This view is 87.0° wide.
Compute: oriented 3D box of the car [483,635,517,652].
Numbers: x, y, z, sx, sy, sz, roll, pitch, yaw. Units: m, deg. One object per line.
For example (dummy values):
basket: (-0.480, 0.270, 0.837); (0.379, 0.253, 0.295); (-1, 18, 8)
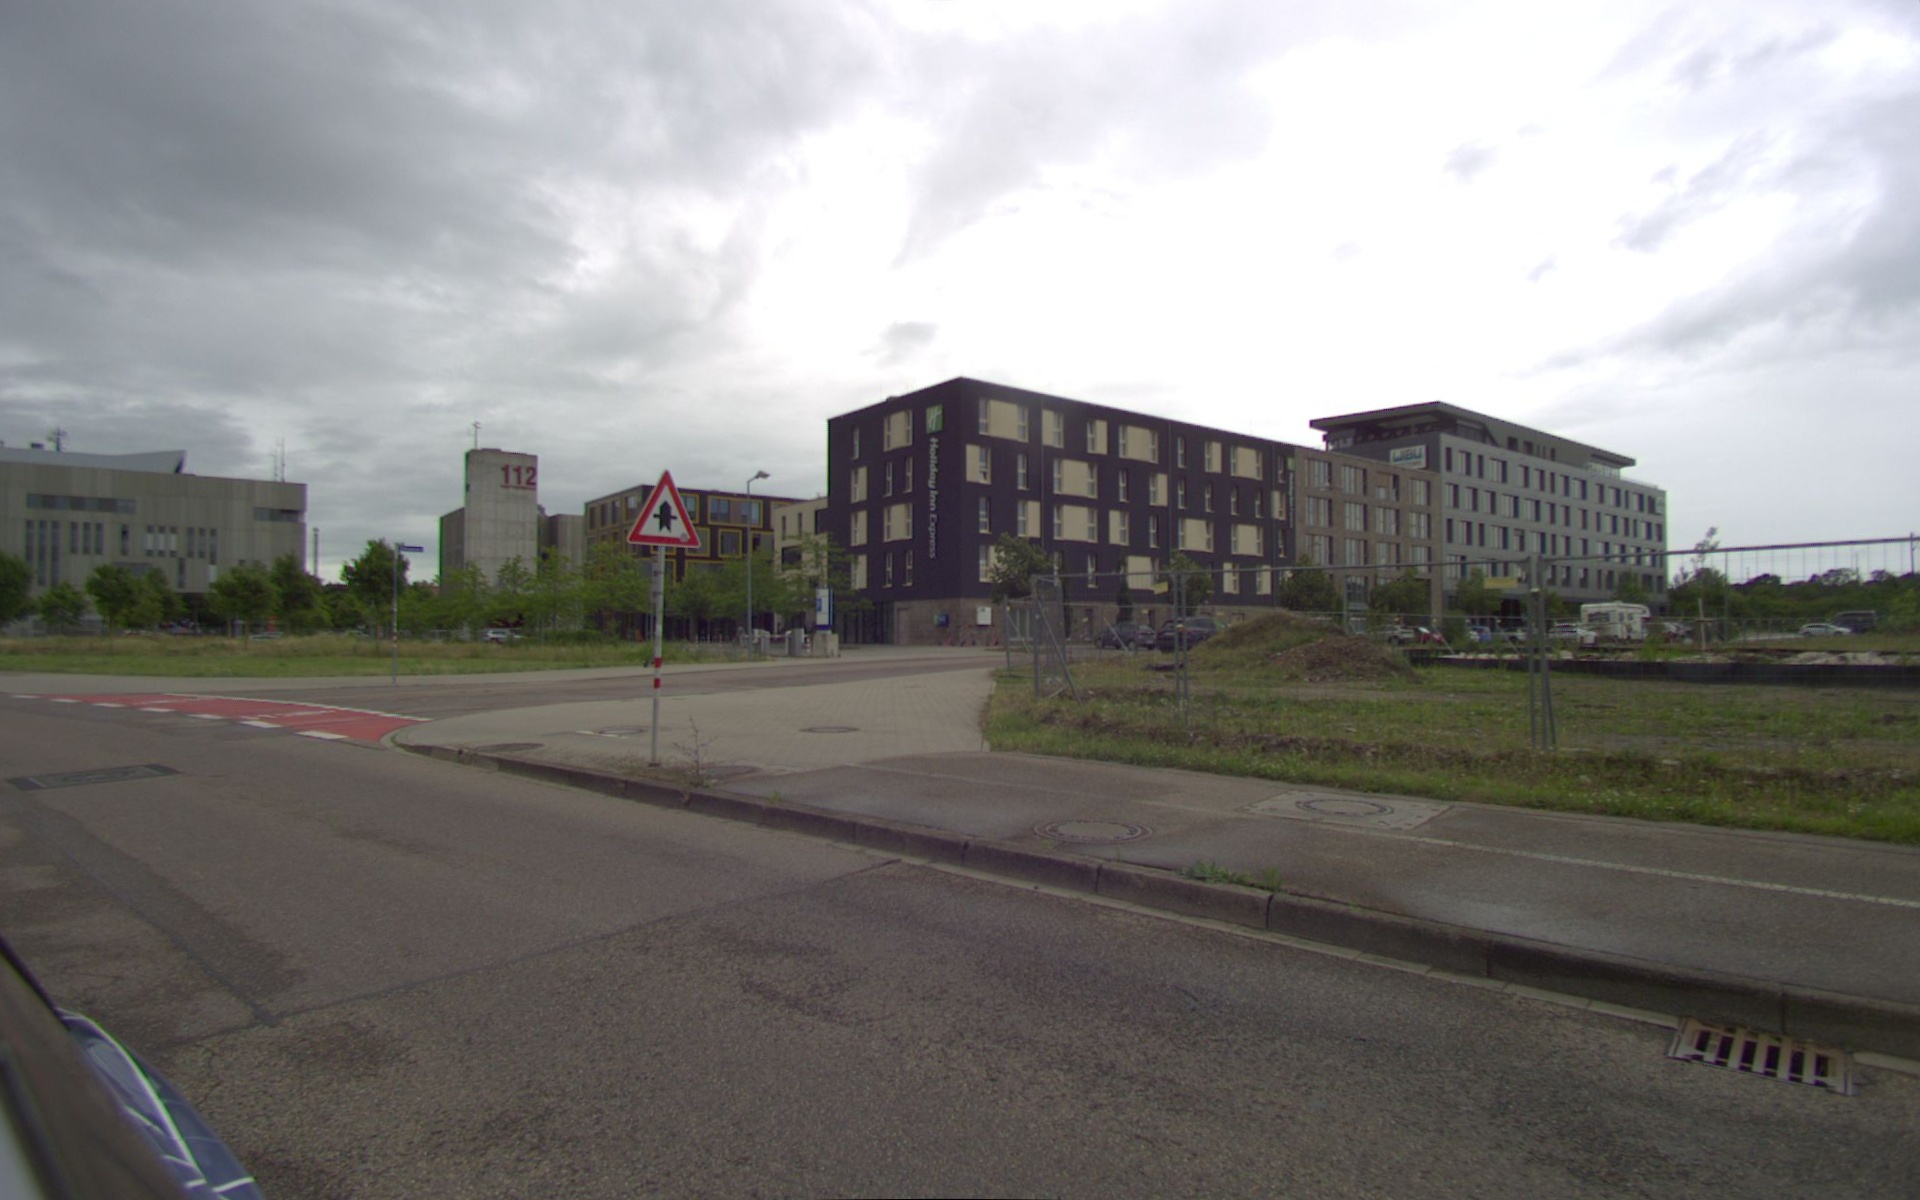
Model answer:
car: (-46.416, 4.388, 102.104); (1.970, 1.535, 4.003); (3, -5, -44)

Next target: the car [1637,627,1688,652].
car: (53.371, 3.011, 76.824); (4.454, 1.852, 2.003); (1, -3, -39)

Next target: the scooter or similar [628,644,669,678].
scooter or similar: (-11.288, 2.207, 36.685); (0.568, 1.177, 1.455); (-2, -1, 25)

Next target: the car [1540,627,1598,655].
car: (40.126, 2.705, 66.683); (3.936, 1.760, 2.004); (1, -3, -39)

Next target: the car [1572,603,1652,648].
car: (46.315, 1.807, 71.846); (6.470, 2.979, 2.719); (1, -3, -39)

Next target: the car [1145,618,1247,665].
car: (9.749, 1.700, 41.700); (3.935, 1.837, 2.004); (1, -3, -38)

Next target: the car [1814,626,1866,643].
car: (92.252, 3.605, 106.066); (4.000, 1.630, 1.972); (-4, -4, 43)

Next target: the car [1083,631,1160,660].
car: (8.720, 2.466, 54.885); (1.672, 1.453, 4.006); (1, -3, -40)

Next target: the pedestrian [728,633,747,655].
pedestrian: (-15.679, 3.100, 71.405); (0.873, 1.583, 0.943); (-3, -3, 34)

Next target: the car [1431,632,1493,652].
car: (39.518, 3.310, 79.767); (1.718, 1.469, 4.005); (1, -3, -41)
